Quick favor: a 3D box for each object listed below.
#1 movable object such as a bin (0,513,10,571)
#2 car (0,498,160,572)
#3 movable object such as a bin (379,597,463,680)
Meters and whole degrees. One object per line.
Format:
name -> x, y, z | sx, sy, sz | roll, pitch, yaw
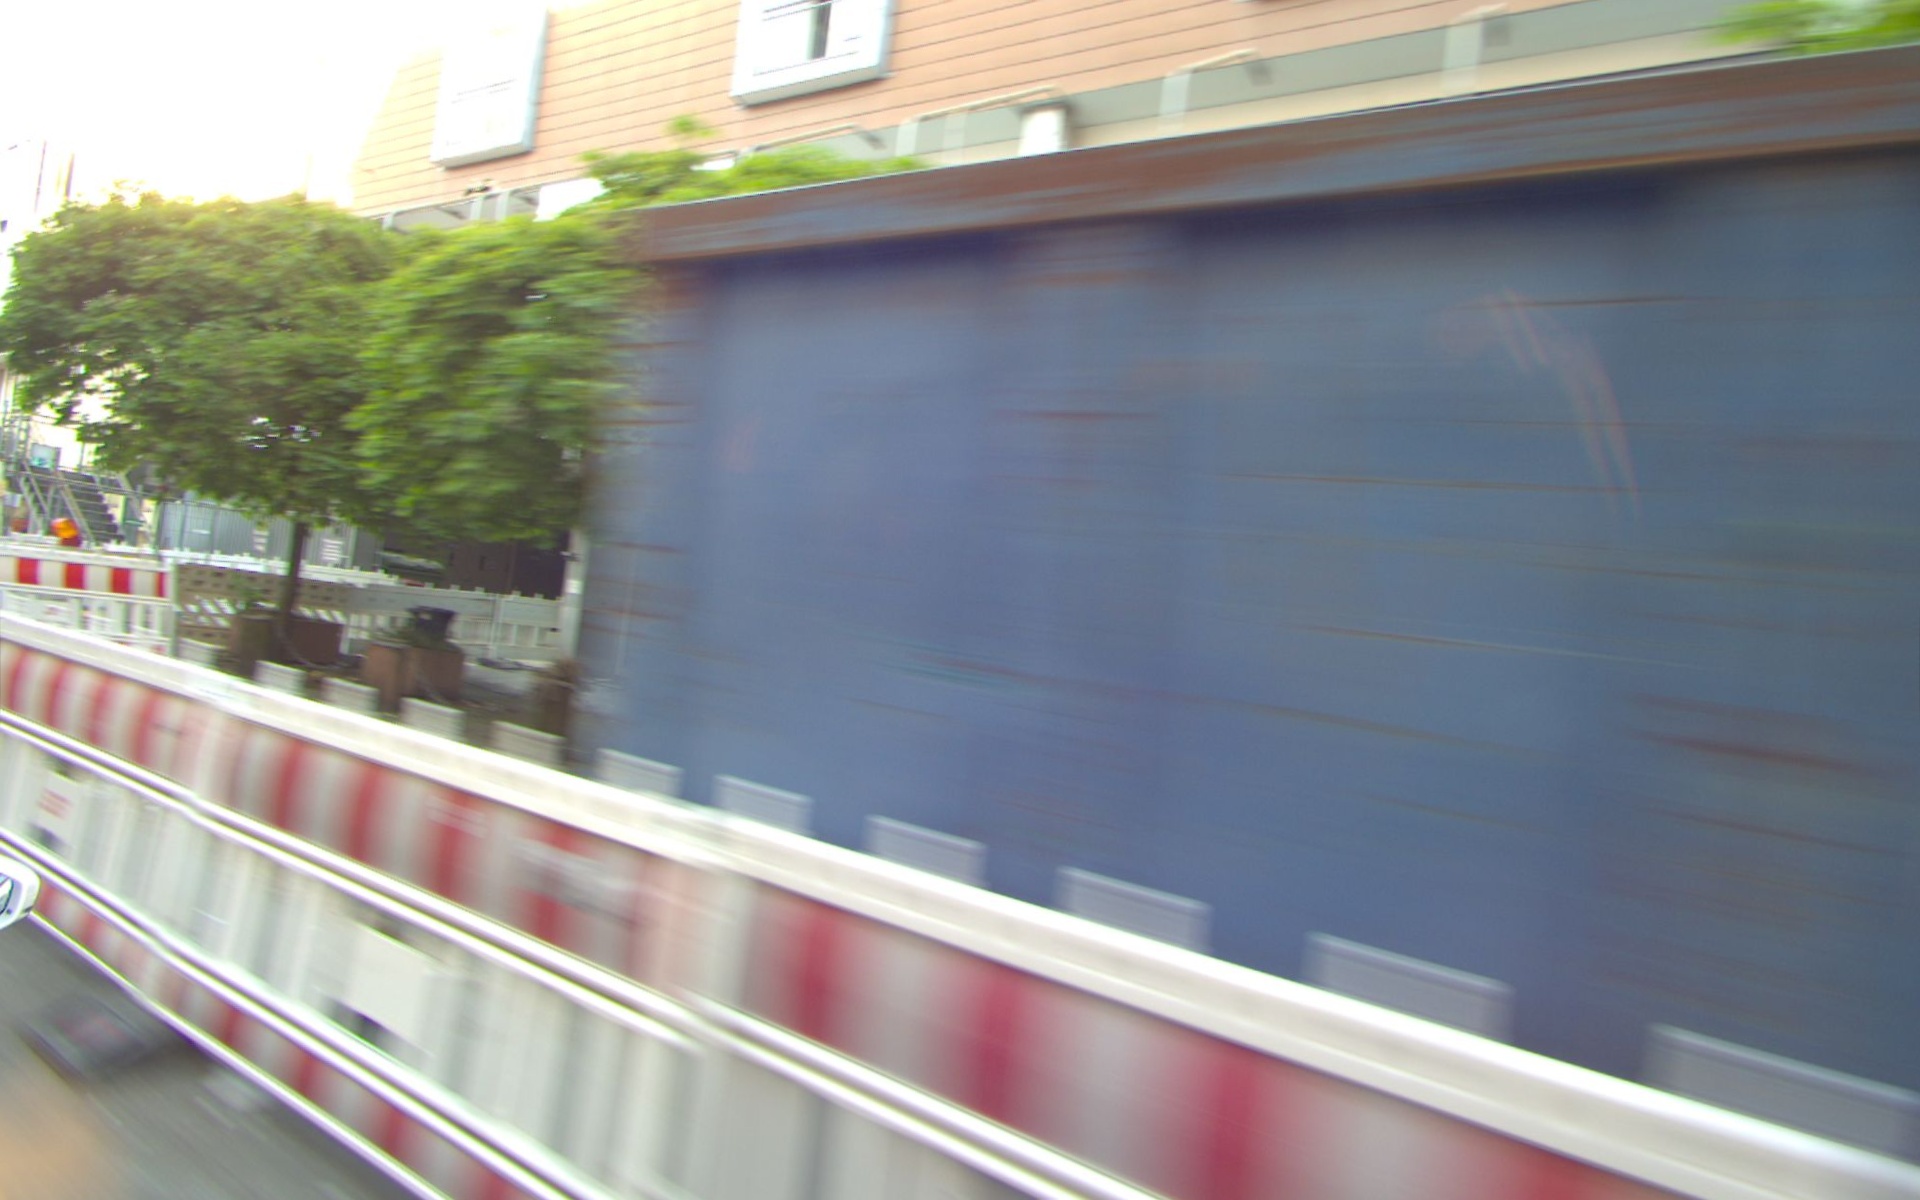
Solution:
movable object such as a bin -> -15.331, -0.744, 15.047 | 0.786, 1.391, 1.257 | 8, -3, 6
car -> -27.416, -2.011, 30.709 | 1.965, 1.678, 4.119 | 7, -2, 27
movable object such as a bin -> -7.121, 0.513, 13.304 | 0.700, 0.986, 0.558 | 7, -3, 27
